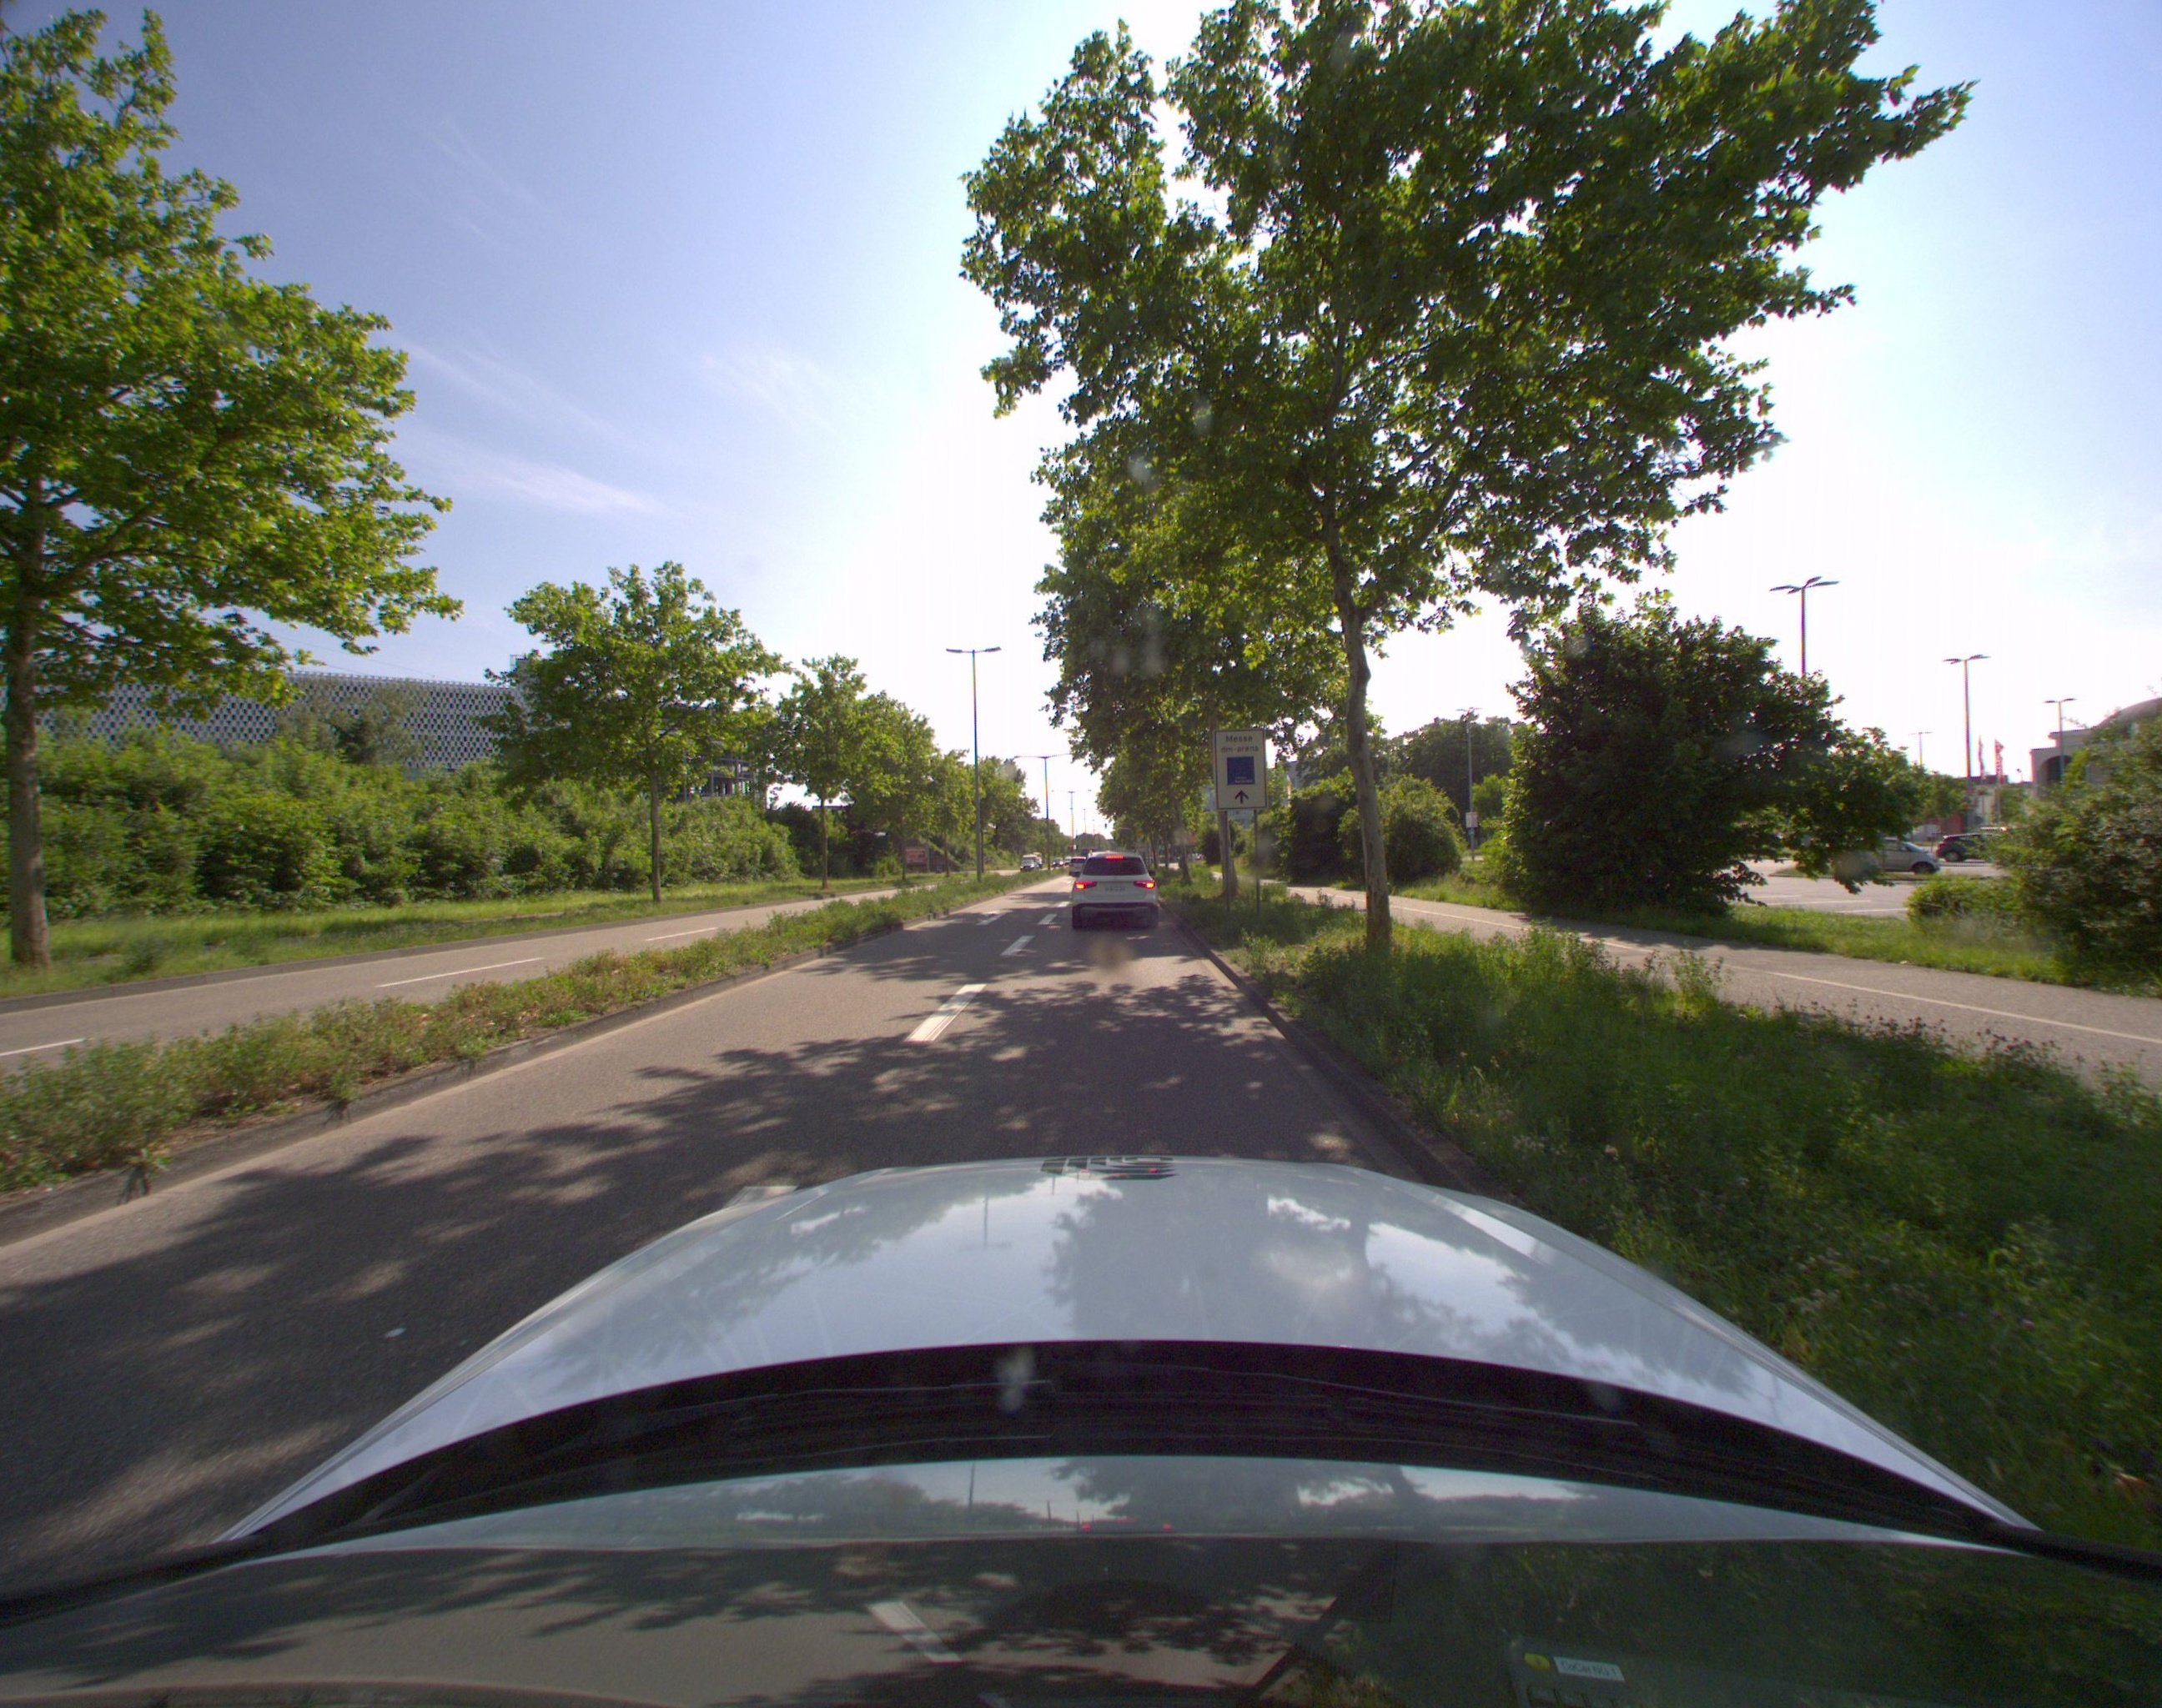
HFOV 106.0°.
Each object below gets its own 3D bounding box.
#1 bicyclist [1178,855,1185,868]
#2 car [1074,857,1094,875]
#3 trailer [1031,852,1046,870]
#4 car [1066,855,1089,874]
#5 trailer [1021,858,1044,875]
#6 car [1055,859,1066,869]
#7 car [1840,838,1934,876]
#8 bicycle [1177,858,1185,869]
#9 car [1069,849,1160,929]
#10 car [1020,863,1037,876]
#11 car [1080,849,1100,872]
[{"bbox_3d":[11.644,0.872,94.668,0.701,1.477,1.010,-1,-1,3],"label":"bicyclist"},{"bbox_3d":[0.325,1.185,79.809,1.764,1.647,4.088,-1,-1,3],"label":"car"},{"bbox_3d":[-6.902,1.158,133.626,1.872,2.744,4.832,0,-1,3],"label":"trailer"},{"bbox_3d":[-0.267,0.955,73.358,1.764,1.647,4.355,-1,-1,3],"label":"car"},{"bbox_3d":[-6.519,1.705,110.206,2.299,2.265,5.542,-2,-1,3],"label":"trailer"},{"bbox_3d":[-3.693,1.752,147.309,1.723,1.809,4.235,0,-1,3],"label":"car"},{"bbox_3d":[32.234,0.127,32.601,0.948,1.492,2.593,1,-1,-40],"label":"car"},{"bbox_3d":[11.629,1.089,94.670,0.719,1.299,2.097,-1,-1,3],"label":"bicycle"},{"bbox_3d":[0.656,0.730,18.480,1.848,1.607,3.998,0,-1,-1],"label":"car"},{"bbox_3d":[-6.762,1.950,105.228,1.708,1.622,4.364,-2,-1,3],"label":"car"},{"bbox_3d":[1.122,0.737,96.014,2.073,2.657,4.878,0,-1,3],"label":"car"}]
